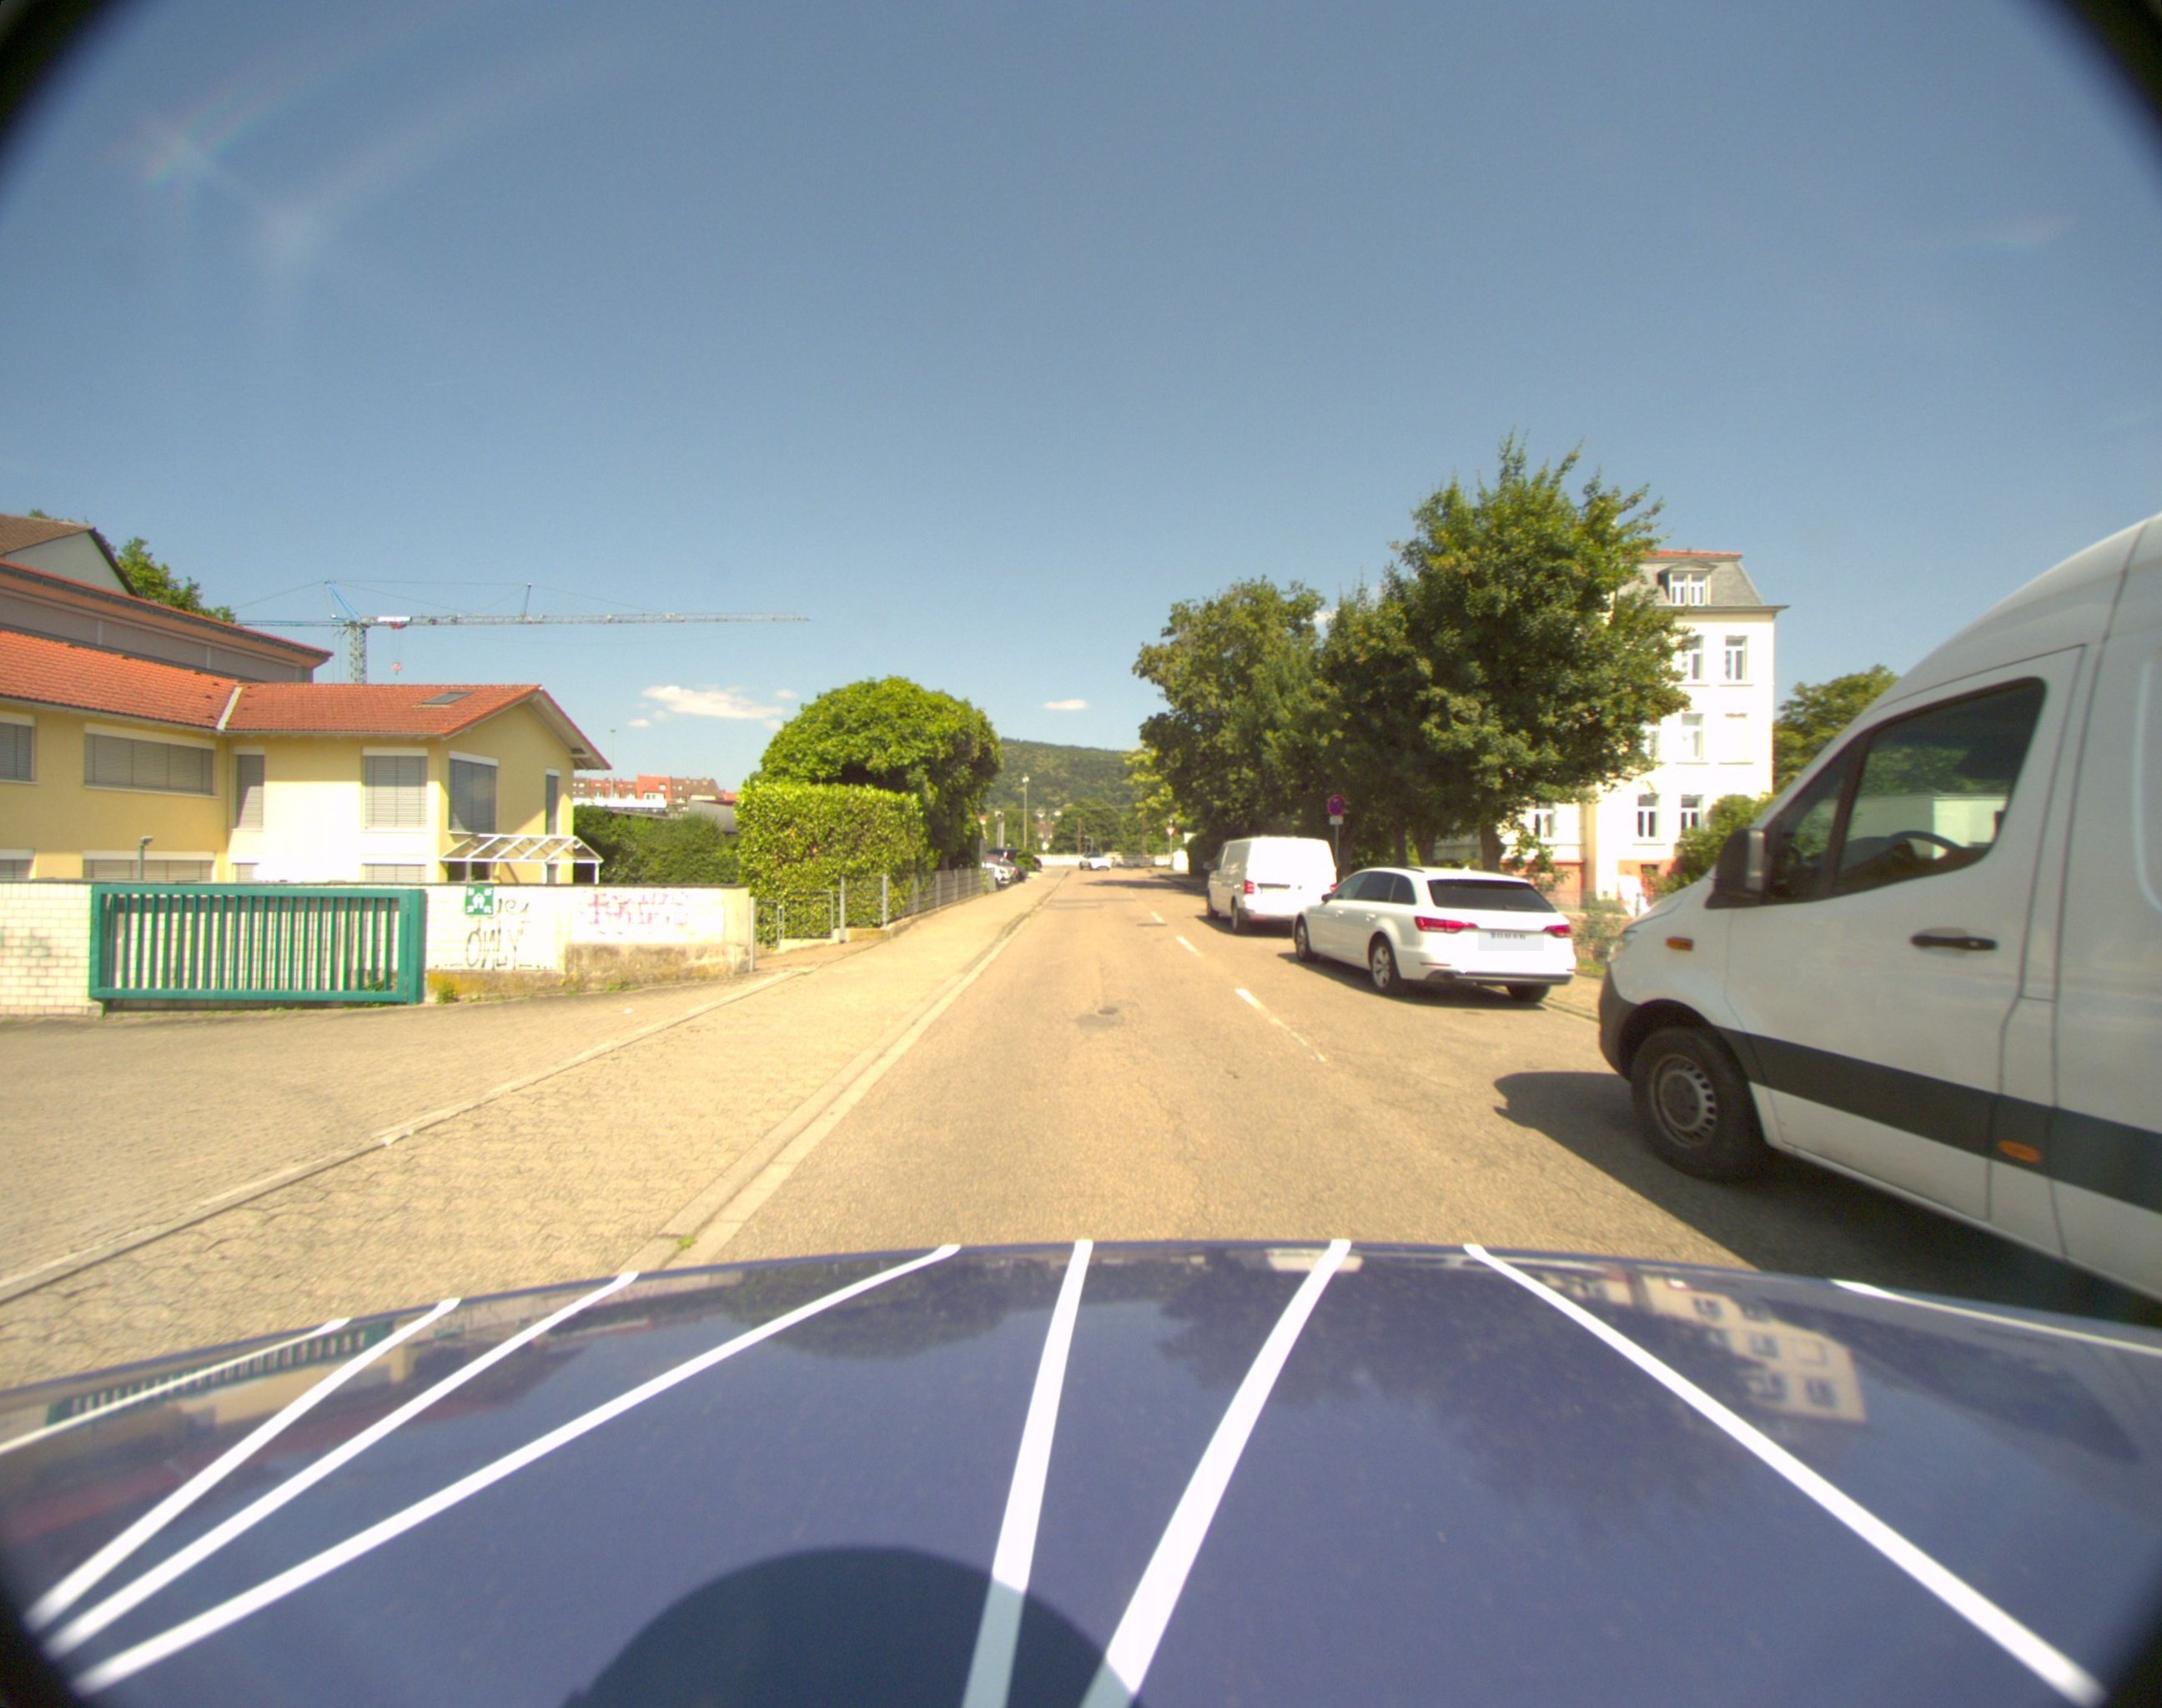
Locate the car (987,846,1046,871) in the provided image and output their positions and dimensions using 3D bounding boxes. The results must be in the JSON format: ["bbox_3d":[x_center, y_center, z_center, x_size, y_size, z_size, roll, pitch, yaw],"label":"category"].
[{"bbox_3d":[-4.616,0.298,55.162,1.847,1.772,4.300,1,1,37],"label":"car"}]

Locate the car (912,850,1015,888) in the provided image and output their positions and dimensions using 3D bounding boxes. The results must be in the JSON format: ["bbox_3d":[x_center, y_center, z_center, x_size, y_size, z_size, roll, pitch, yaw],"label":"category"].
[{"bbox_3d":[-5.337,0.675,34.954,4.414,1.519,1.896,2,1,-2],"label":"car"}]

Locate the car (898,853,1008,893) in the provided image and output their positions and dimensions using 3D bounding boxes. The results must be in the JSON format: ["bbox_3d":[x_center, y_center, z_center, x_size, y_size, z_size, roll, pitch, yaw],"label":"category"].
[{"bbox_3d":[-5.390,0.775,32.475,4.414,1.644,1.843,0,0,-2],"label":"car"}]

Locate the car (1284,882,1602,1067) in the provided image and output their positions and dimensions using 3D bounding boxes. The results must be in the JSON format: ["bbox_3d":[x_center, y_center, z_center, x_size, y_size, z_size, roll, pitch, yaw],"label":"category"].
[{"bbox_3d":[4.043,1.236,9.452,1.718,1.535,4.400,2,0,-1],"label":"car"}]

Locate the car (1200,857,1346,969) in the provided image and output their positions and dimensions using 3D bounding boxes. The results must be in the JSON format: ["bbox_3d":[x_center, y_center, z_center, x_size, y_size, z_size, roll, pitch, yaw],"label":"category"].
[{"bbox_3d":[4.019,1.122,16.854,1.976,2.002,5.056,2,0,1],"label":"car"}]

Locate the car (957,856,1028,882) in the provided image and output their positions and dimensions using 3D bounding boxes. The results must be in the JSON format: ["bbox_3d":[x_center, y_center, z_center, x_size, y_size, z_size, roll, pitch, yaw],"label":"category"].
[{"bbox_3d":[-4.631,0.776,40.160,3.558,1.327,1.559,1,0,-1],"label":"car"}]

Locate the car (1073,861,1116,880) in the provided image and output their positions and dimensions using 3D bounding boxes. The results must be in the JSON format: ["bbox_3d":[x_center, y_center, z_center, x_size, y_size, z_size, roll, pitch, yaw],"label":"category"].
[{"bbox_3d":[1.107,1.434,65.216,1.900,1.412,4.160,2,1,-27],"label":"car"}]

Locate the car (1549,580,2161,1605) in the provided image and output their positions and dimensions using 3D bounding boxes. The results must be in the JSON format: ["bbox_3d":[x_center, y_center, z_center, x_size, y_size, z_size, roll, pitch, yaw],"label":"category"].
[{"bbox_3d":[3.809,0.622,0.959,2.173,2.581,6.920,2,0,1],"label":"car"}]

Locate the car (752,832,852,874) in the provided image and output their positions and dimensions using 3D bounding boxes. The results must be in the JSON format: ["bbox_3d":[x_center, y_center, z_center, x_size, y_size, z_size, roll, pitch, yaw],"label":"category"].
[{"bbox_3d":[-18.445,-0.029,50.345,6.026,2.663,2.255,1,1,-22],"label":"car"}]

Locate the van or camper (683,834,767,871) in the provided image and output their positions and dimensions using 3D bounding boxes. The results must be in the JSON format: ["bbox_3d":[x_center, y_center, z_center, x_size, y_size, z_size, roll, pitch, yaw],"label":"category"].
[{"bbox_3d":[-23.703,-0.088,50.596,4.943,2.422,1.995,0,1,-29],"label":"van or camper"}]

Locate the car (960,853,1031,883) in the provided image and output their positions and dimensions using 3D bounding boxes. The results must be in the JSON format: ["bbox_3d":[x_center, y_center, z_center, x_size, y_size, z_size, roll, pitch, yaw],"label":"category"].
[{"bbox_3d":[-4.802,0.758,43.082,3.812,1.614,1.759,1,0,-1],"label":"car"}]

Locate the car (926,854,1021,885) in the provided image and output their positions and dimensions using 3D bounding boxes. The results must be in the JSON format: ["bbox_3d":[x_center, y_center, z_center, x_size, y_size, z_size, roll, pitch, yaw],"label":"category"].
[{"bbox_3d":[-5.261,0.759,37.586,4.414,1.488,1.897,0,0,0],"label":"car"}]
